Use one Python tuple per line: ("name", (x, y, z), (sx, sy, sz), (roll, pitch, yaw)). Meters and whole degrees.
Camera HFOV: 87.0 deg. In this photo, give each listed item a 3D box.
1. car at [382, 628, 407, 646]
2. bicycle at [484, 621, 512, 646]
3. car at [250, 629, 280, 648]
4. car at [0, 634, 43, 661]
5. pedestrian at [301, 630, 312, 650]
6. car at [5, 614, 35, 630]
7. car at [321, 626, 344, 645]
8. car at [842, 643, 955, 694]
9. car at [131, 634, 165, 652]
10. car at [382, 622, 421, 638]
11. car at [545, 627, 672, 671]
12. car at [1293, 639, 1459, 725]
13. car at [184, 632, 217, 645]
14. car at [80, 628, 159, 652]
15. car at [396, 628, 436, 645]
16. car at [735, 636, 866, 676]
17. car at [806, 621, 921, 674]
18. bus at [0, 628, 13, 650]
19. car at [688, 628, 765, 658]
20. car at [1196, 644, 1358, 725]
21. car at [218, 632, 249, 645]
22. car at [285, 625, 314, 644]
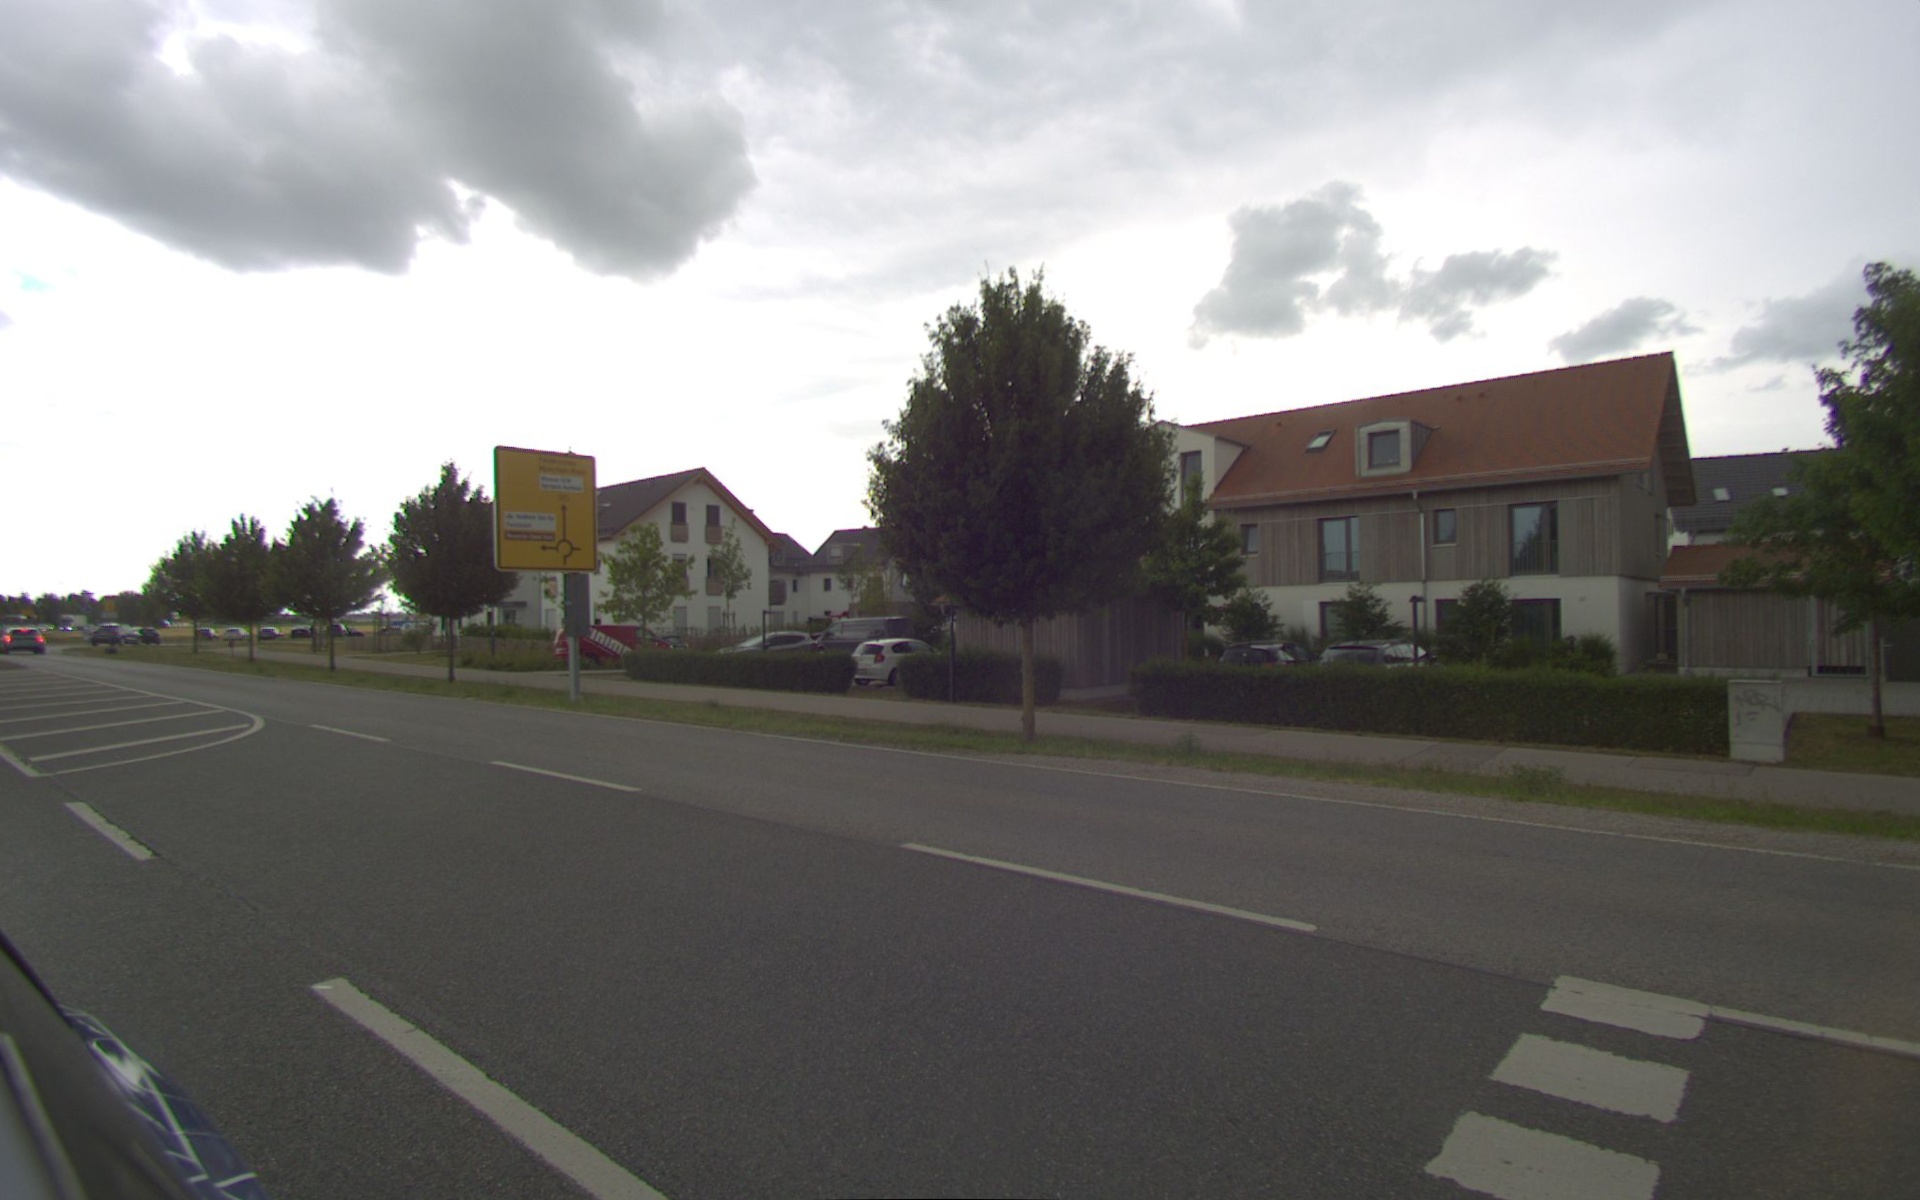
("car", (-65.429, 4.315, 117.170), (1.965, 2.029, 4.013), (1, -3, -21))
("bicycle", (-26.887, 1.979, 58.912), (2.093, 1.439, 0.675), (-2, -3, 41))
("car", (-75.730, 4.259, 110.353), (1.965, 2.029, 4.013), (1, -3, -24))
("car", (-51.760, 2.594, 55.461), (3.998, 1.455, 1.751), (-2, -3, 41))
("pedestrian", (-51.758, 3.173, 80.170), (0.586, 1.541, 0.540), (-2, -1, 41))
("car", (-93.805, 2.225, 100.932), (3.998, 1.455, 1.751), (-2, -3, 41))
("car", (-69.643, 3.926, 112.322), (1.966, 2.029, 4.010), (2, -3, -34))
("car", (-1.887, 2.094, 31.670), (1.562, 1.501, 3.478), (-2, -3, 41))
("car", (-66.748, 3.502, 83.181), (1.750, 1.455, 4.002), (3, -4, -45))
("car", (-72.985, 4.001, 132.263), (1.991, 2.029, 3.961), (-1, -3, 28))
("car", (-15.209, 2.125, 43.978), (4.848, 1.830, 1.907), (3, -4, -44))
("car", (8.815, 1.641, 21.288), (2.000, 1.630, 3.944), (-2, -3, 42))
("car", (-80.992, 4.139, 107.948), (1.965, 1.298, 4.013), (1, -3, -24))
("car", (-60.241, 2.897, 72.654), (1.810, 1.594, 4.204), (0, -3, 8))
("car", (-67.978, 4.580, 126.485), (1.994, 2.029, 3.956), (-1, -3, 32))
("car", (-6.029, 2.125, 38.685), (1.905, 1.441, 4.853), (-2, -3, 42))
("car", (-4.247, 2.033, 43.822), (5.202, 2.028, 1.971), (-2, 1, 44))
("bus", (-148.050, 5.957, 155.265), (6.476, 3.305, 2.955), (-2, -3, 39))
("car", (-12.207, 2.254, 52.887), (3.998, 1.519, 1.973), (-2, -3, 41))
("car", (7.173, 1.808, 22.687), (2.000, 1.630, 3.944), (-2, -3, 42))
("car", (-78.174, 4.150, 108.966), (1.965, 1.298, 4.013), (1, -3, -24))
("car", (-72.586, 3.805, 111.248), (1.965, 2.029, 4.013), (1, -3, -24))
